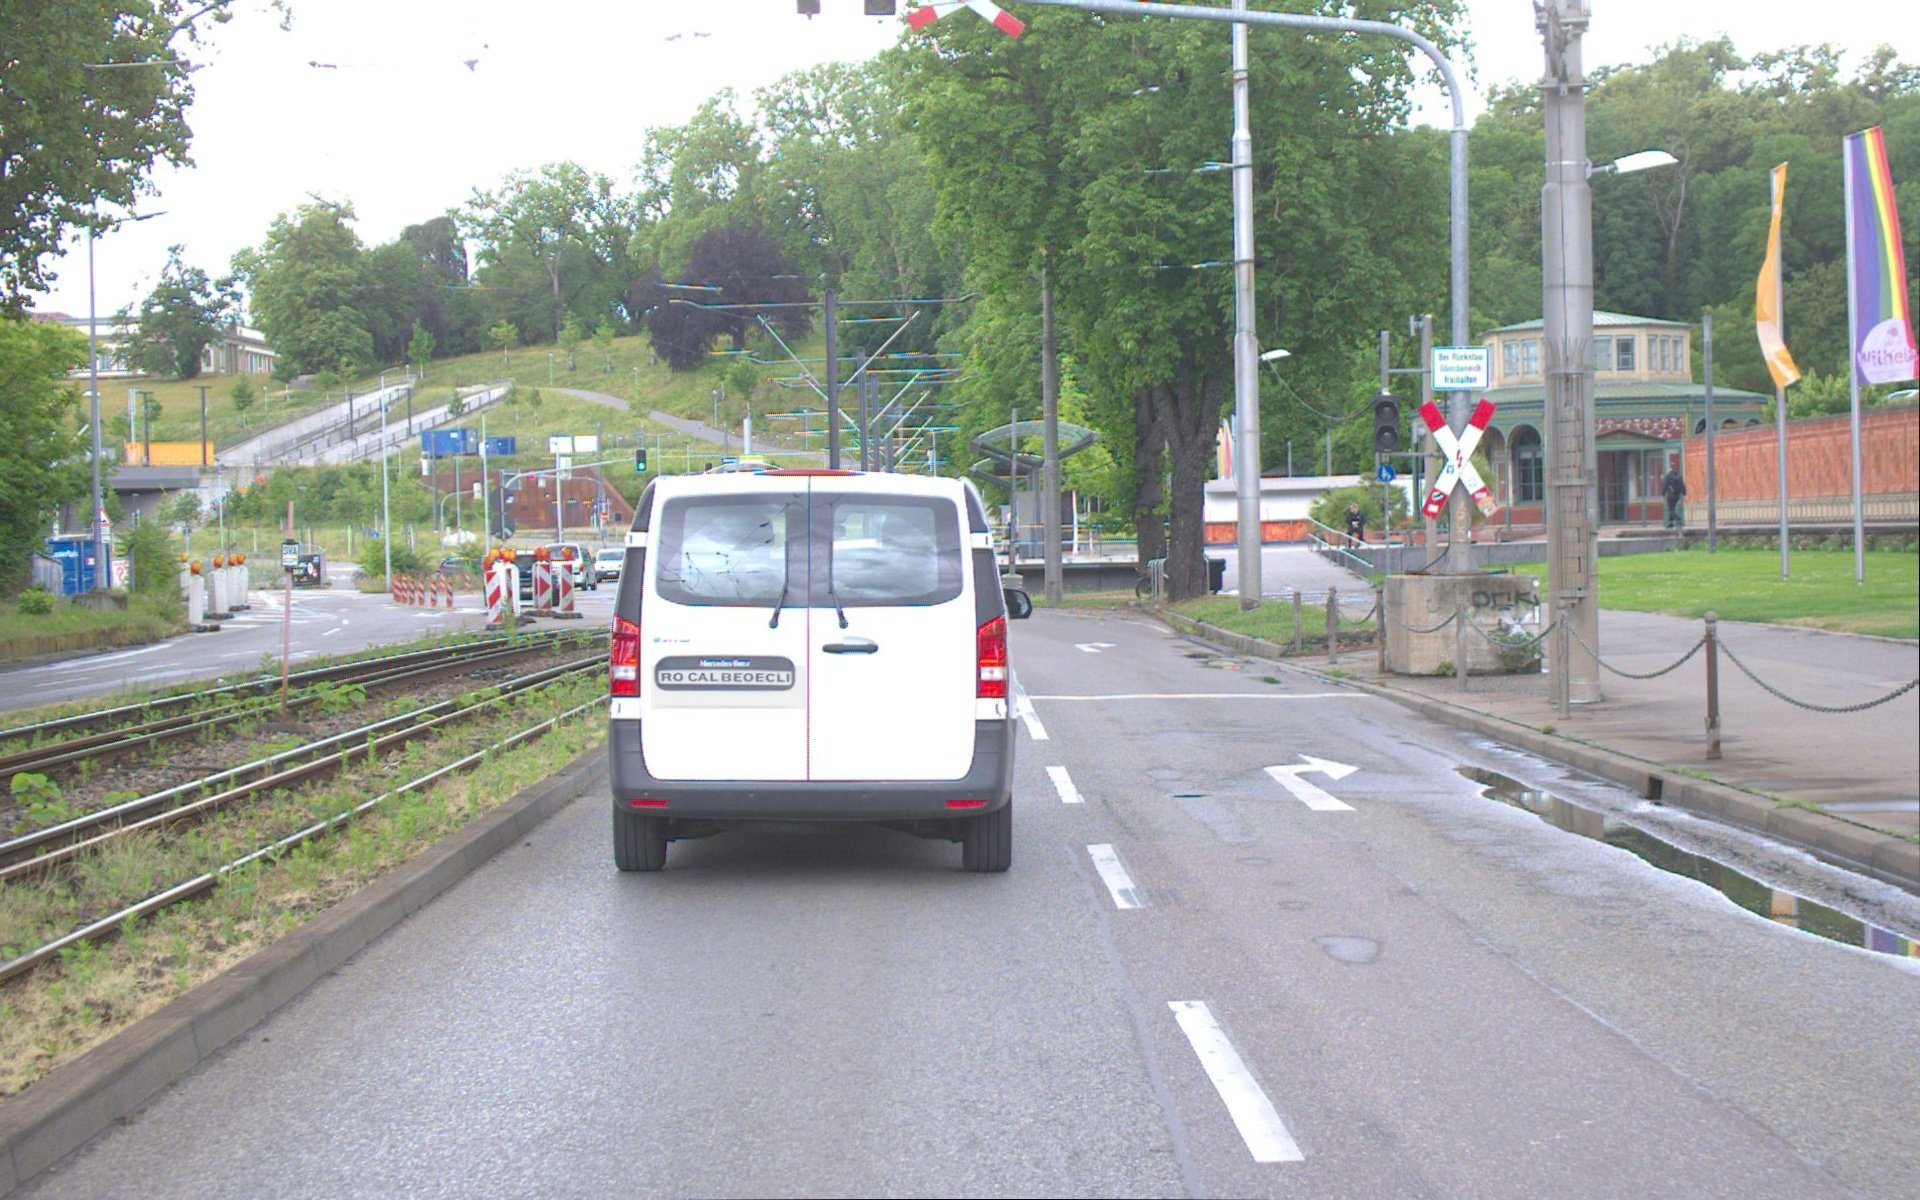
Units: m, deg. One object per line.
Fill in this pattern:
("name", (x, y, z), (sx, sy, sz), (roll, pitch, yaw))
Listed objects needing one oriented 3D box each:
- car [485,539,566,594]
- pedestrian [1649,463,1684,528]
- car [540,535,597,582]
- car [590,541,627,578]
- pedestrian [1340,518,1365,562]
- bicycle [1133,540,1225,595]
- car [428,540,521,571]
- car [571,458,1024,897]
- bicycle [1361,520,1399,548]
("car", (-11.811, -0.910, 93.215), (1.838, 1.462, 4.063), (0, 1, -12))
("pedestrian", (20.138, -2.971, 98.052), (0.949, 1.831, 0.549), (1, 0, 10))
("car", (-14.996, -1.568, 131.827), (1.752, 1.766, 4.000), (1, 0, -1))
("car", (-19.345, -2.211, 189.249), (1.934, 2.007, 4.001), (1, 0, -4))
("pedestrian", (10.872, -1.652, 95.209), (0.548, 1.197, 0.669), (1, 0, -6))
("bicycle", (4.832, -0.709, 75.862), (1.991, 1.154, 0.741), (-2, 1, 5))
("car", (-27.118, -2.486, 192.007), (4.711, 1.472, 1.999), (-2, 2, 10))
("car", (-0.734, 0.316, 17.109), (1.959, 1.897, 4.462), (0, 1, -1))
("bicycle", (16.379, -2.575, 134.103), (0.562, 1.057, 1.716), (0, 0, -30))
